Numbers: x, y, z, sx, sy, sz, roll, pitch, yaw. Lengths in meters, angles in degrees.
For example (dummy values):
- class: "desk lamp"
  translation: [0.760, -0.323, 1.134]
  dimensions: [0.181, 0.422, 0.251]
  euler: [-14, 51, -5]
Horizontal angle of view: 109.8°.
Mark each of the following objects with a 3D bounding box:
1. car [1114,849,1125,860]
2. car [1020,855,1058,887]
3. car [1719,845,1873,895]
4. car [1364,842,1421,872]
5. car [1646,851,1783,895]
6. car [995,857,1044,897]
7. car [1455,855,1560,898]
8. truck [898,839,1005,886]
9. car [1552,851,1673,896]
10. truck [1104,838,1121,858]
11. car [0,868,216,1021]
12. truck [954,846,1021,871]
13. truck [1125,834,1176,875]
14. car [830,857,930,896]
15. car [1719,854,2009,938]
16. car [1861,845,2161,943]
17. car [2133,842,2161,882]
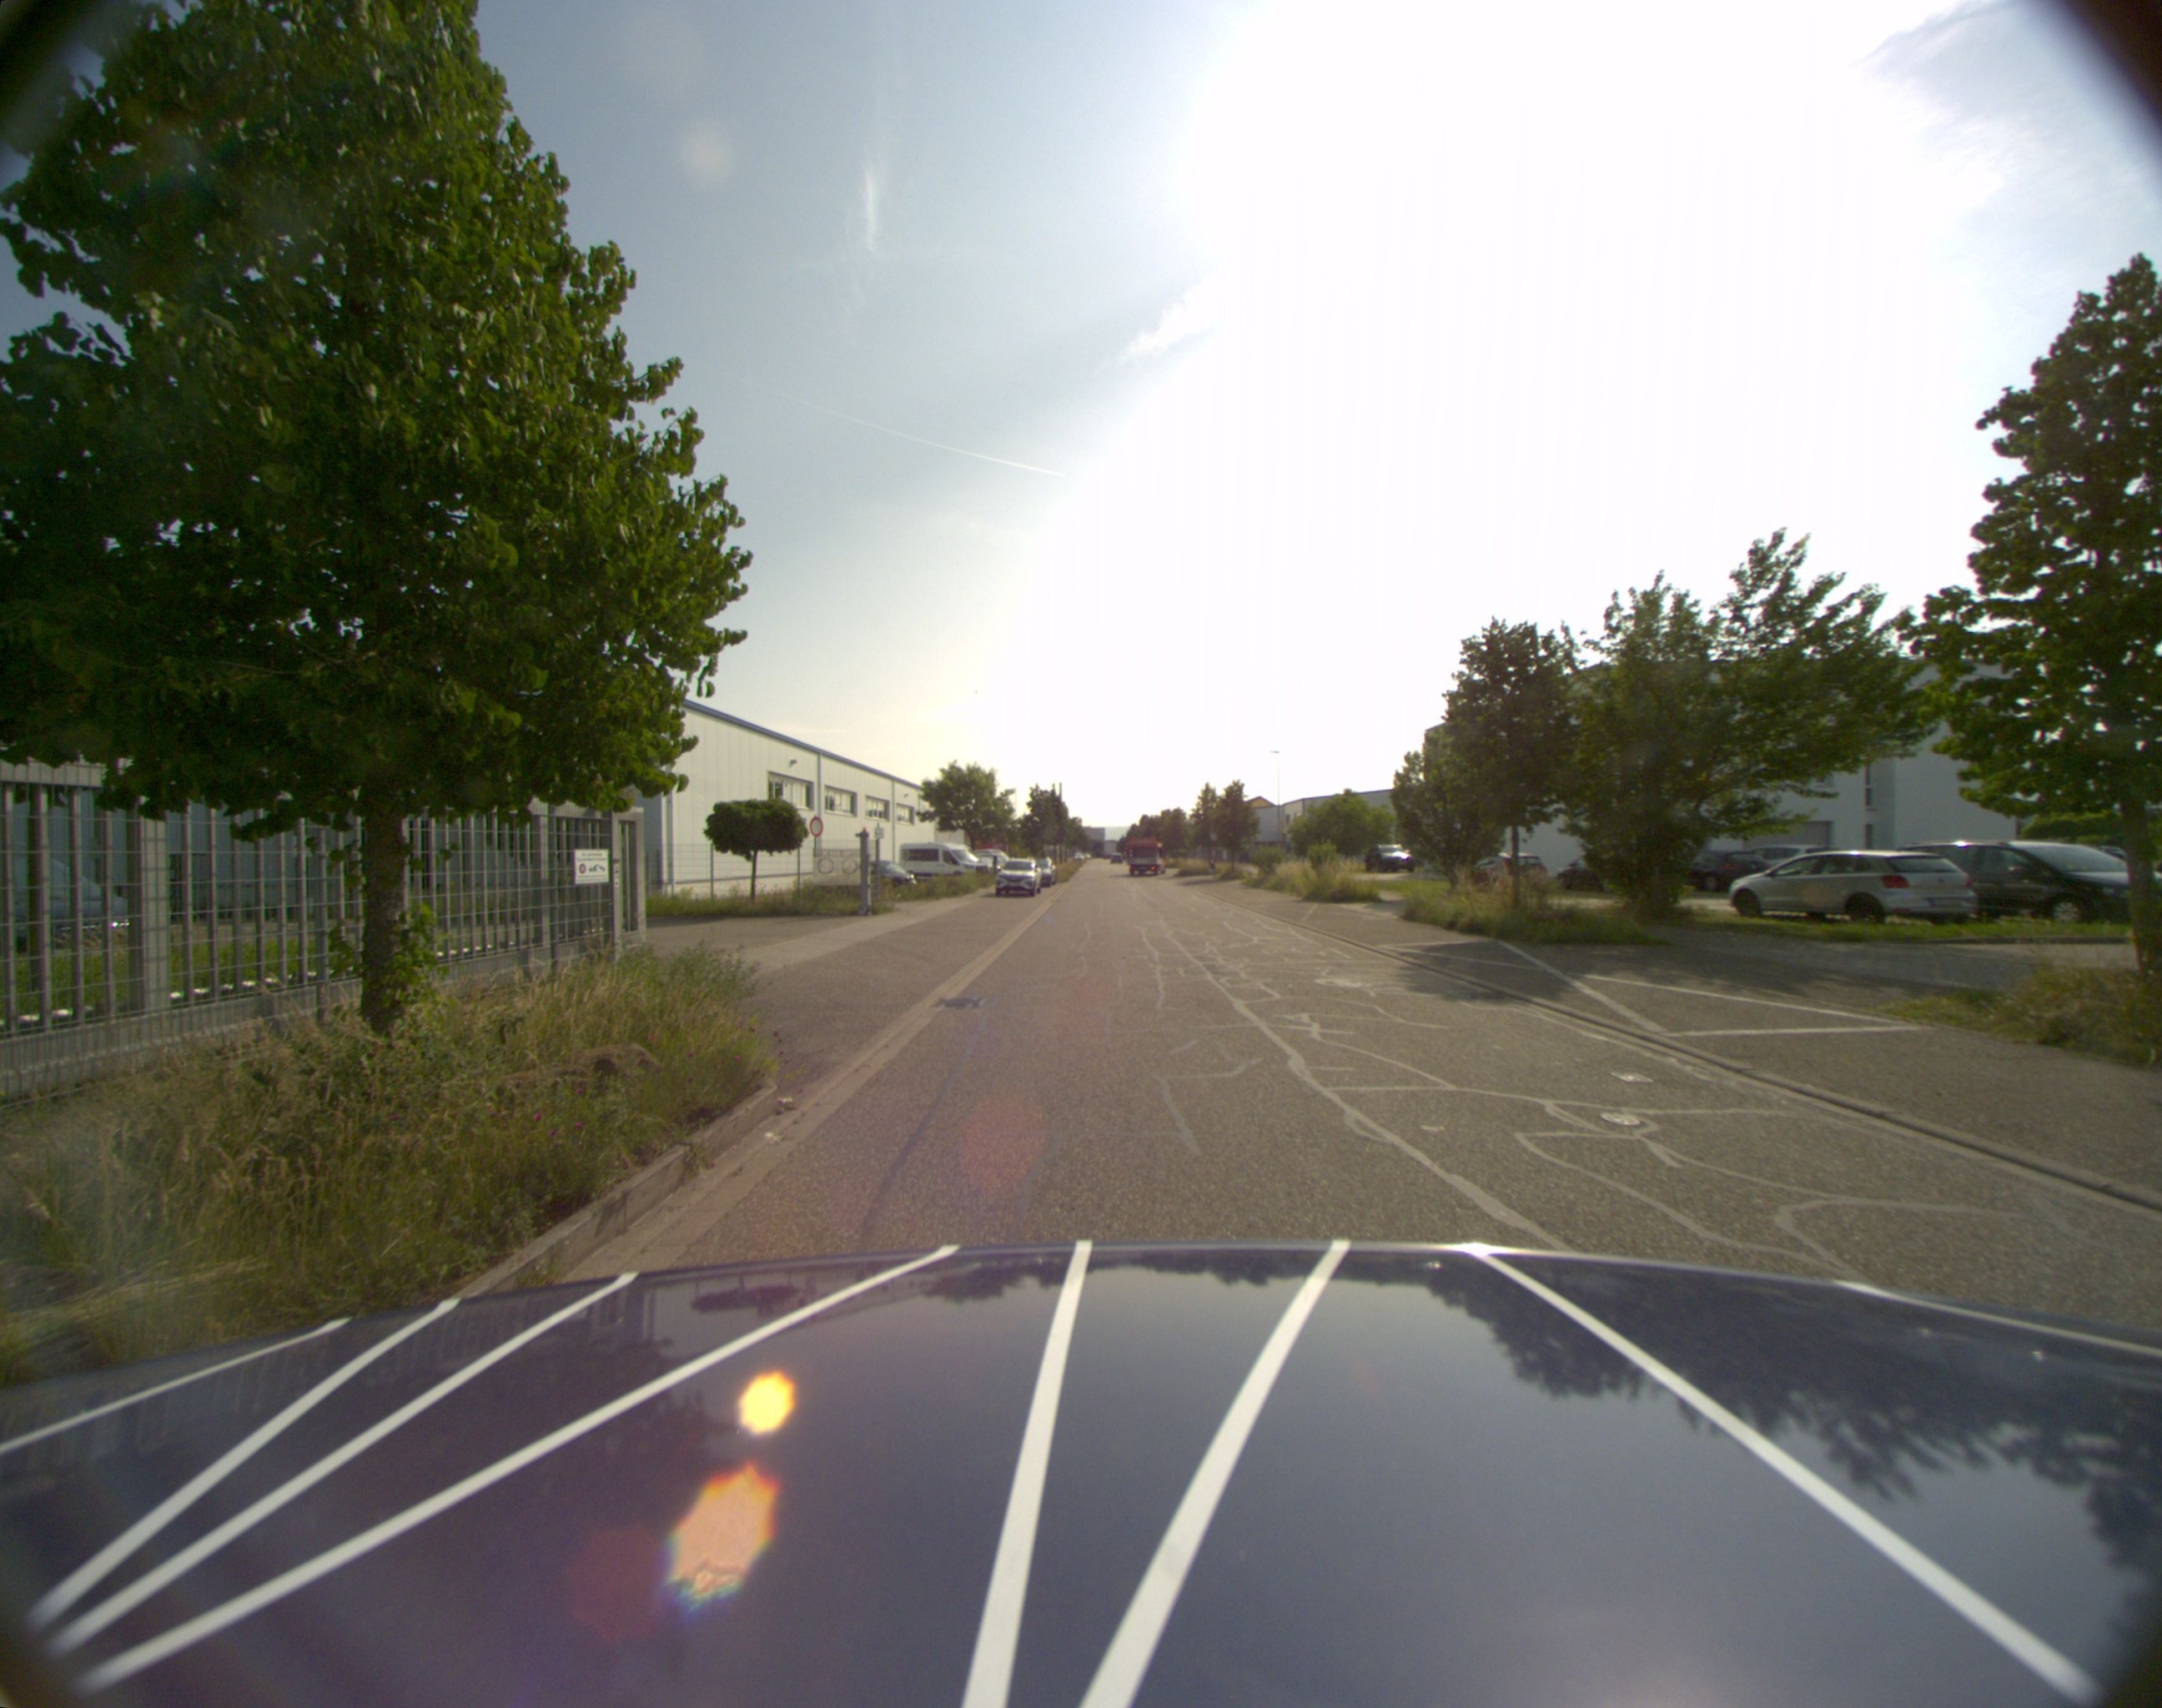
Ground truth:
- class: "car"
  translation: [5.887, 0.098, 116.424]
  dimensions: [1.668, 1.495, 3.540]
  euler: [-1, 2, 1]
- class: "car"
  translation: [-2.138, 0.854, 39.466]
  dimensions: [1.694, 1.495, 3.541]
  euler: [1, 0, 1]
- class: "car"
  translation: [25.195, 0.521, 26.998]
  dimensions: [1.910, 1.609, 3.918]
  euler: [-1, 0, 3]
- class: "car"
  translation: [19.949, 0.188, 48.857]
  dimensions: [1.998, 1.827, 4.696]
  euler: [-1, 0, 3]
- class: "car"
  translation: [22.529, 0.624, 27.223]
  dimensions: [1.758, 1.459, 3.918]
  euler: [-1, 0, 3]
- class: "car"
  translation: [-2.489, 0.928, 31.613]
  dimensions: [1.668, 1.495, 3.541]
  euler: [1, 0, 1]
- class: "car"
  translation: [15.399, 0.762, 27.669]
  dimensions: [1.758, 1.401, 3.918]
  euler: [-1, 0, 3]
- class: "truck"
  translation: [-7.498, 0.449, 43.667]
  dimensions: [6.193, 2.516, 2.280]
  euler: [0, 1, 34]
- class: "car"
  translation: [19.023, 0.652, 27.433]
  dimensions: [1.758, 1.459, 3.918]
  euler: [-1, 0, 3]
- class: "truck"
  translation: [6.832, -1.347, 166.500]
  dimensions: [3.412, 4.017, 10.395]
  euler: [-2, 0, 1]
- class: "car"
  translation: [-12.393, 0.915, 8.413]
  dimensions: [4.015, 1.453, 1.653]
  euler: [-1, 1, 6]
- class: "truck"
  translation: [-8.100, 0.373, 65.311]
  dimensions: [5.815, 2.010, 2.280]
  euler: [0, 1, 39]
- class: "truck"
  translation: [5.448, 0.055, 58.043]
  dimensions: [2.510, 2.817, 8.853]
  euler: [2, 0, 14]
- class: "car"
  translation: [-8.309, 0.876, 31.311]
  dimensions: [3.988, 1.489, 1.902]
  euler: [0, 1, 37]
- class: "car"
  translation: [15.421, 0.740, 15.326]
  dimensions: [1.790, 1.441, 3.917]
  euler: [-1, 0, 0]
- class: "car"
  translation: [18.373, 0.641, 14.720]
  dimensions: [1.947, 1.597, 4.509]
  euler: [-1, 0, 1]
- class: "car"
  translation: [40.801, 0.308, 26.594]
  dimensions: [1.758, 1.459, 4.564]
  euler: [-1, 0, 3]
